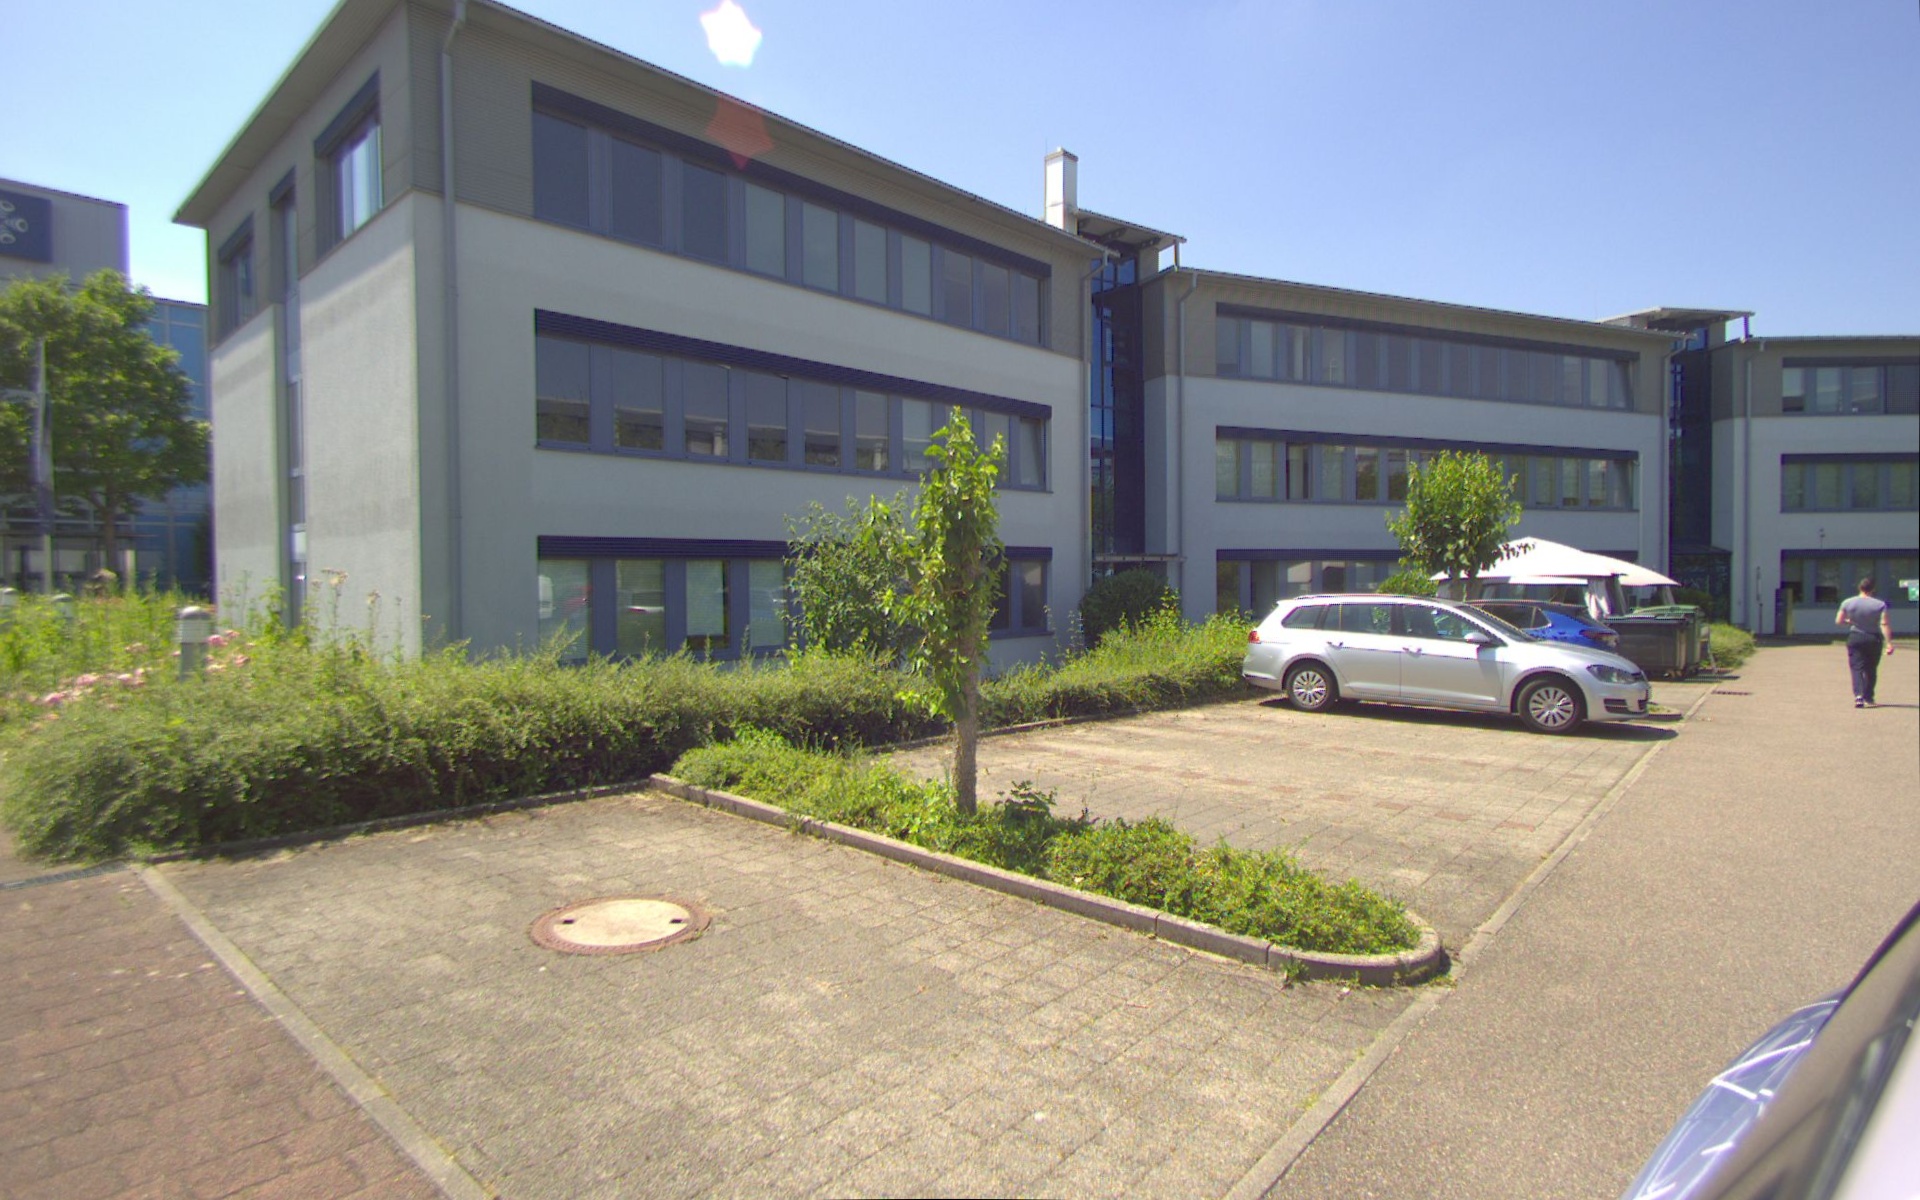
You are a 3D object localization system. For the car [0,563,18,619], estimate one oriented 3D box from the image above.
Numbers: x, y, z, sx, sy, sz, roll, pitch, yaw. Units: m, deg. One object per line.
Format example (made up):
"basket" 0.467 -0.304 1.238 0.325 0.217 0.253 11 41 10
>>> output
"car" -28.180 -0.299 28.602 4.238 1.500 1.751 2 2 39

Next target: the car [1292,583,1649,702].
"car" 7.686 0.528 15.521 4.592 1.512 1.830 2 1 41

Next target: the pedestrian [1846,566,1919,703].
"pedestrian" 12.429 0.443 13.634 0.696 1.779 0.765 -1 0 44

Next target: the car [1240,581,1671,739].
"car" 5.886 0.569 12.340 4.408 1.539 1.830 2 1 41
